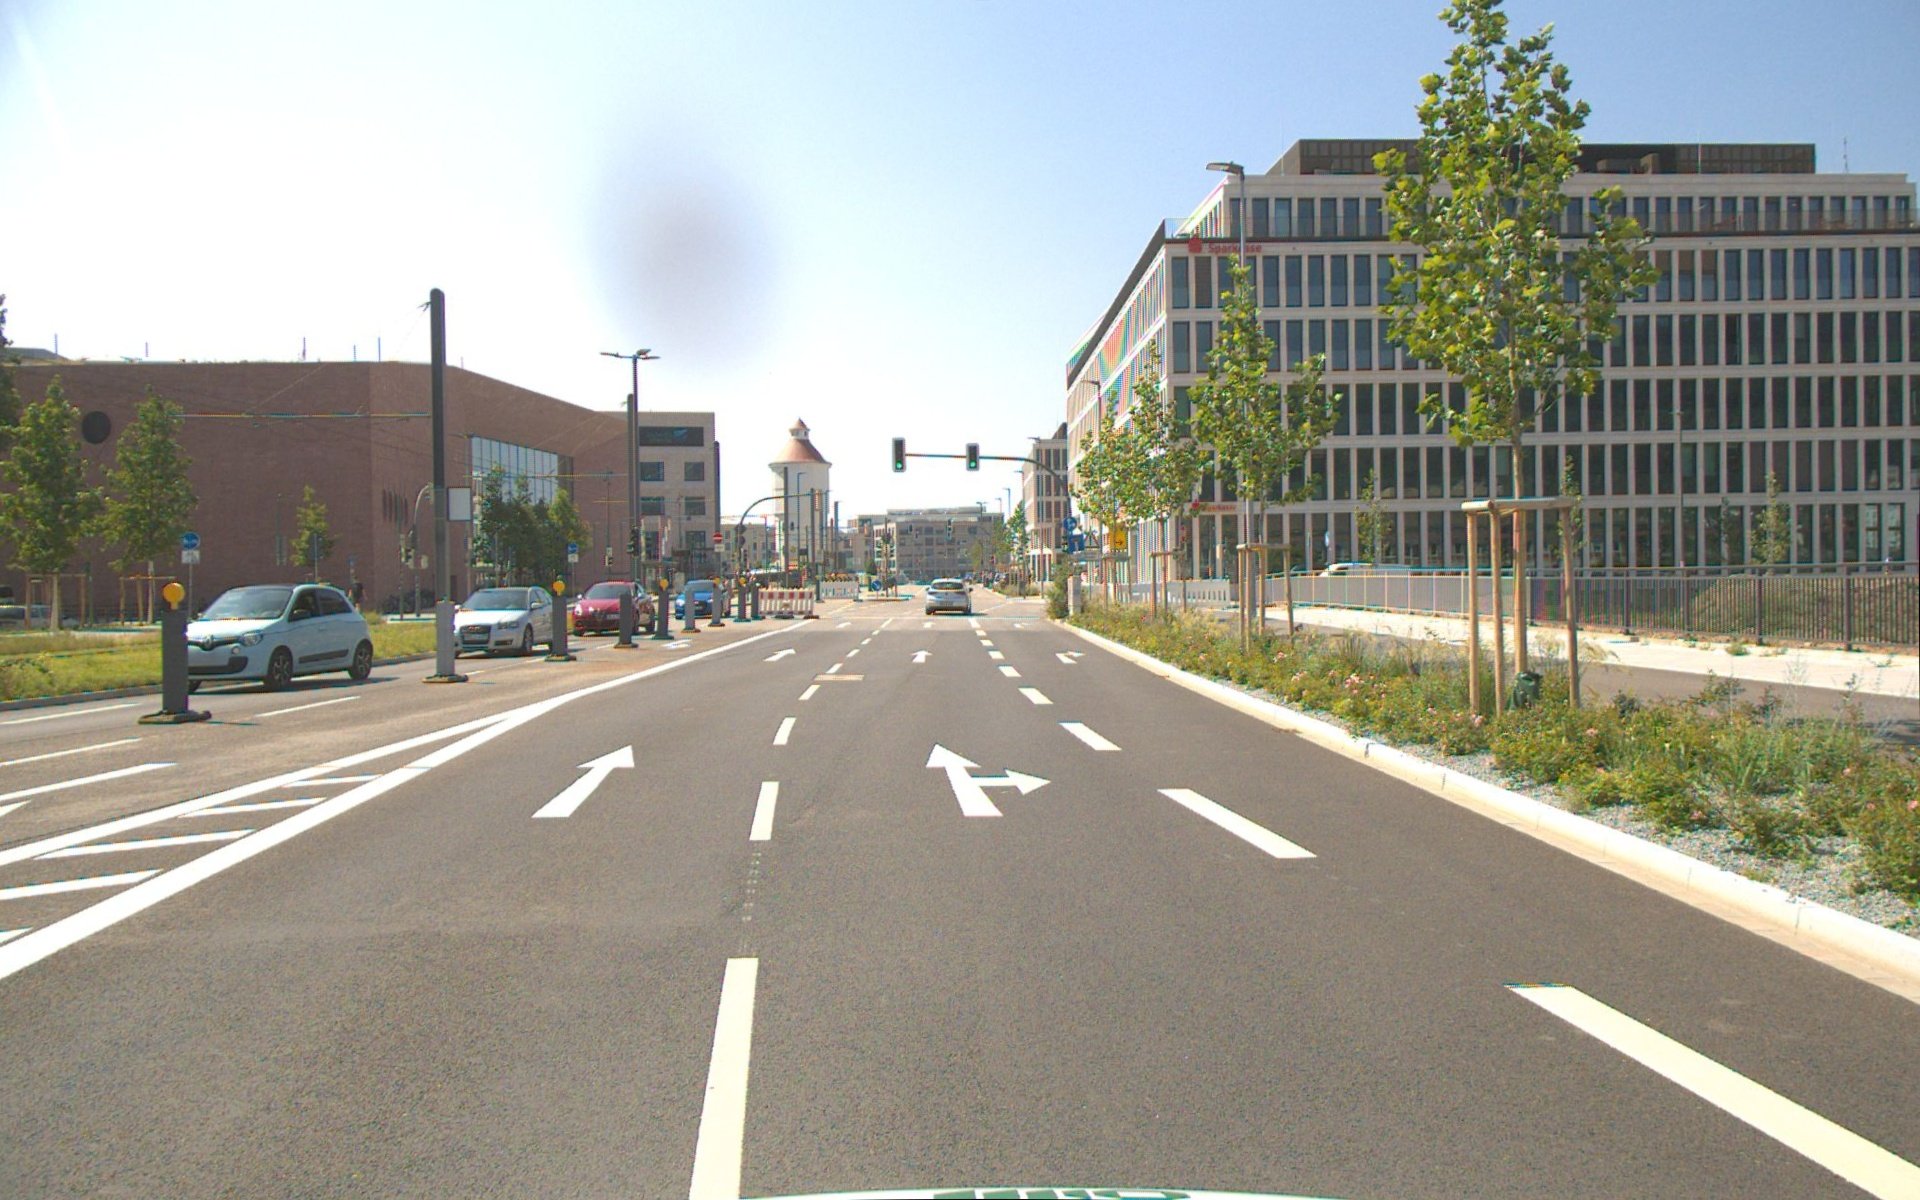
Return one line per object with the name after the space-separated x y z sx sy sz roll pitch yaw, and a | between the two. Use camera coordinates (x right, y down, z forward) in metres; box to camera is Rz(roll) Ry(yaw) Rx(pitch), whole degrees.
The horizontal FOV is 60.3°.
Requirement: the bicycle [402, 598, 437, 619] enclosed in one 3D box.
-33.757 0.518 103.362 2.014 1.233 0.538 -1 1 -12 | bicycle

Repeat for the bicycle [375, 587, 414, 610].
-31.808 -0.079 93.101 2.014 1.233 0.538 -1 0 -12 | bicycle

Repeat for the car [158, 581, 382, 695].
-10.534 0.523 25.531 1.546 1.557 3.624 -3 0 6 | car

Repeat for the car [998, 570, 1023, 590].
3.915 -1.536 126.865 1.700 1.500 3.983 0 0 5 | car

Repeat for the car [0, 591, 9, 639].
-36.066 0.558 59.262 1.663 1.792 3.939 0 0 0 | car

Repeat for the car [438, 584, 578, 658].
-9.616 0.410 35.513 1.547 1.441 4.299 -2 1 4 | car

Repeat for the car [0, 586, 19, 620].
-51.966 0.150 87.388 3.470 1.719 1.694 0 1 0 | car

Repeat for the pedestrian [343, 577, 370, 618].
-27.616 -0.125 75.705 0.795 1.879 1.107 0 1 1 | pedestrian

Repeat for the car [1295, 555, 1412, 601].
21.159 -1.171 89.081 5.717 2.310 2.146 1 1 -1 | car

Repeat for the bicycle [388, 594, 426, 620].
-32.613 0.424 97.550 2.014 1.478 0.538 -1 1 -12 | bicycle

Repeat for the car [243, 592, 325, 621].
-33.580 0.304 82.162 3.408 1.393 1.573 0 1 -2 | car

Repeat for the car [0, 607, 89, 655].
-36.363 1.210 65.338 1.663 1.792 4.301 0 0 0 | car

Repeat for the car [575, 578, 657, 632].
-9.784 0.125 47.283 1.548 1.441 3.998 -2 1 -1 | car

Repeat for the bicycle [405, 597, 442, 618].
-32.373 0.470 99.811 2.014 1.233 0.538 -1 1 -12 | bicycle

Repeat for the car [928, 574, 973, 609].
-0.374 -0.337 68.299 1.735 1.419 3.532 0 0 1 | car

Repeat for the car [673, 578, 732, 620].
-9.757 -0.067 63.025 1.595 1.452 4.289 -2 1 -1 | car
